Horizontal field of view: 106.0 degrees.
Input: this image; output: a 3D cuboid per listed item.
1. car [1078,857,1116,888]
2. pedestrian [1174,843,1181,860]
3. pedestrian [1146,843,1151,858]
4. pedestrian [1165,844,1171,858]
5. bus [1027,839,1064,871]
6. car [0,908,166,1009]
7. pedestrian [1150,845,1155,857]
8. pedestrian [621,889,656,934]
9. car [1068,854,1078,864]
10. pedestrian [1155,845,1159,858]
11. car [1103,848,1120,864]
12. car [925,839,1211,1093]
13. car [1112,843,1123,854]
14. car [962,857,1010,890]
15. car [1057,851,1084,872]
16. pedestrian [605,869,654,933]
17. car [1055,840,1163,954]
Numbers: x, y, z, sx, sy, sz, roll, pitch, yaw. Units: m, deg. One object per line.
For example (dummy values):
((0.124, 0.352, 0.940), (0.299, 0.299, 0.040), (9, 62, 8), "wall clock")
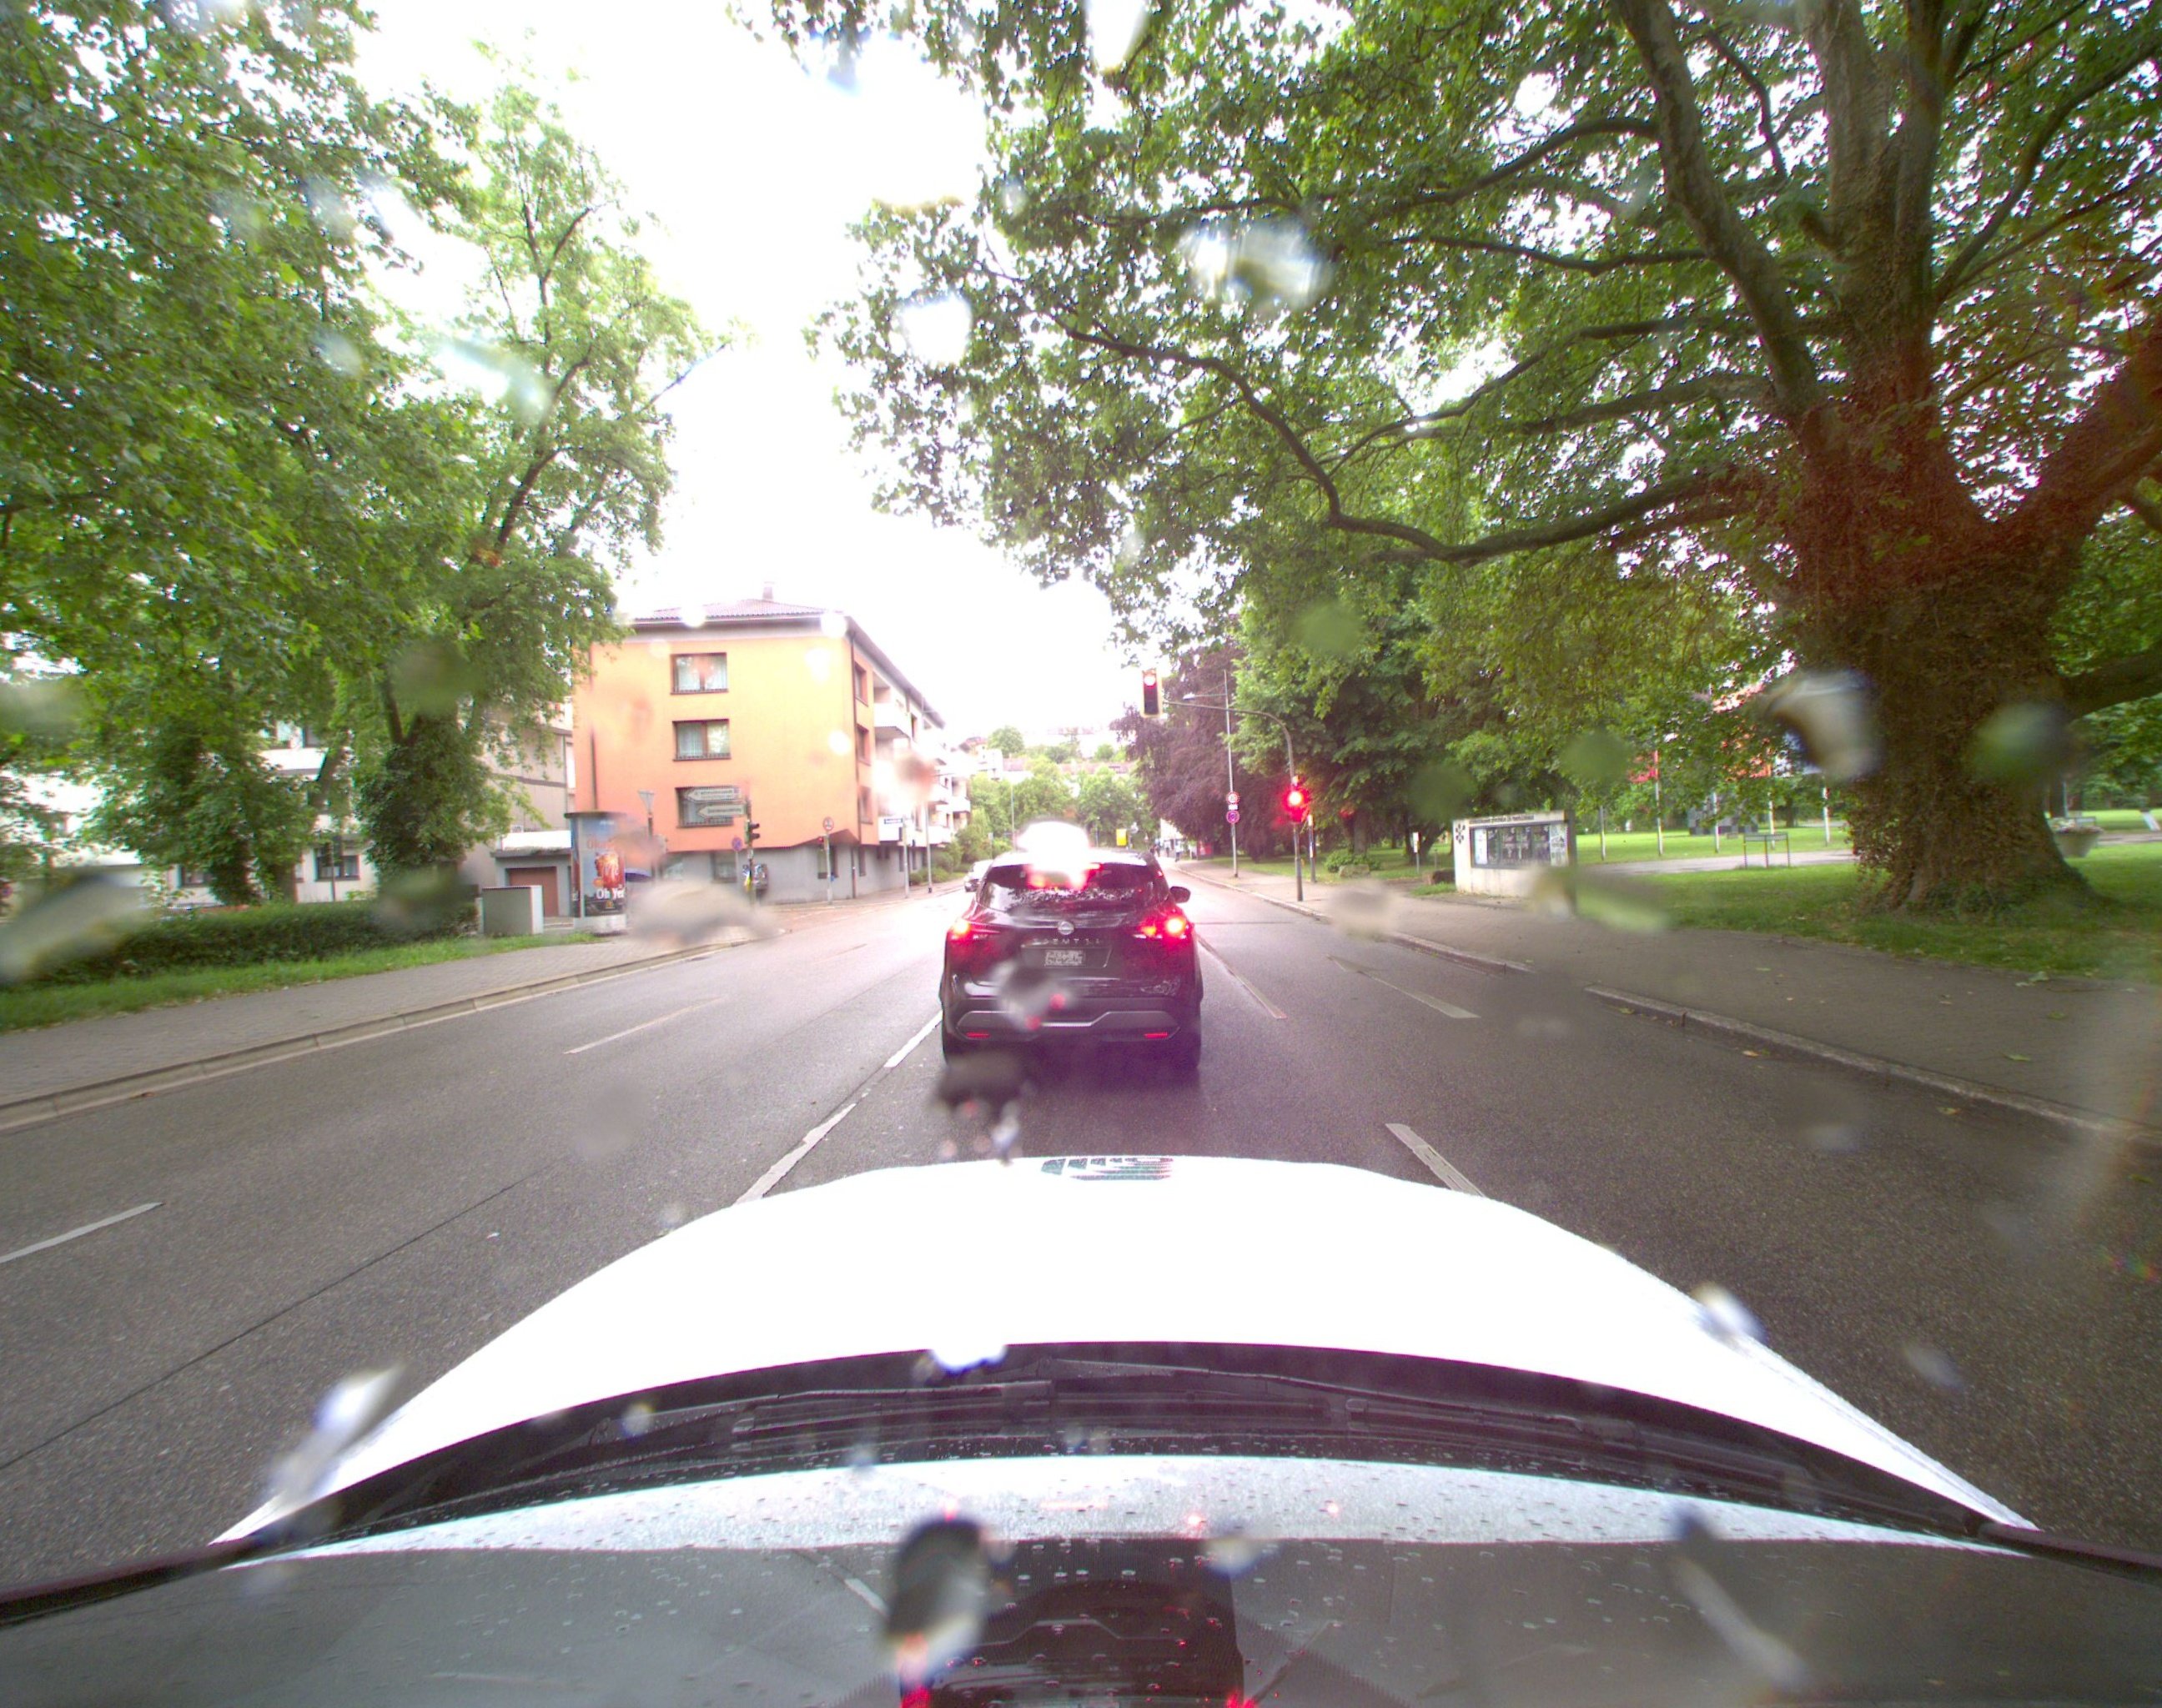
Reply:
((0.781, 0.916, 41.217), (1.802, 1.417, 4.031), (-2, 0, 1), "car")
((10.198, -0.283, 85.906), (0.616, 1.779, 0.779), (-3, 0, 1), "pedestrian")
((9.753, -0.536, 117.559), (0.764, 2.183, 0.712), (0, -1, 5), "pedestrian")
((11.165, -0.442, 105.031), (0.616, 1.779, 0.551), (-3, 0, 1), "pedestrian")
((-3.498, 0.090, 83.626), (2.756, 2.974, 11.786), (-3, 0, 2), "bus")
((-18.008, 1.739, 13.818), (3.182, 1.524, 1.507), (0, -1, -1), "car")
((9.399, -0.384, 106.770), (0.542, 1.651, 0.490), (0, -1, 2), "pedestrian")
((-12.255, 1.584, 22.564), (0.690, 1.175, 0.817), (0, 0, -40), "pedestrian")
((-1.355, 0.849, 140.908), (1.671, 1.469, 4.217), (-4, 0, 1), "car")
((9.857, -0.338, 105.341), (0.513, 1.655, 0.550), (0, -1, 1), "pedestrian")
((3.083, 0.199, 81.532), (1.618, 1.415, 3.456), (-3, 0, 2), "car")
((-0.022, 0.722, 7.141), (1.799, 1.590, 4.001), (0, -1, 2), "car")
((6.145, -0.891, 136.535), (1.743, 1.633, 3.636), (-3, 0, 2), "car")
((-4.764, 0.964, 41.197), (1.802, 1.417, 4.031), (-4, 0, 1), "car")
((-0.739, 0.524, 58.598), (1.618, 1.415, 3.456), (-3, 0, 2), "car")
((-12.938, 1.324, 23.330), (1.000, 1.742, 1.195), (0, 0, -40), "pedestrian")
((0.556, 0.674, 14.807), (1.615, 1.709, 3.774), (-3, 0, 3), "car")
